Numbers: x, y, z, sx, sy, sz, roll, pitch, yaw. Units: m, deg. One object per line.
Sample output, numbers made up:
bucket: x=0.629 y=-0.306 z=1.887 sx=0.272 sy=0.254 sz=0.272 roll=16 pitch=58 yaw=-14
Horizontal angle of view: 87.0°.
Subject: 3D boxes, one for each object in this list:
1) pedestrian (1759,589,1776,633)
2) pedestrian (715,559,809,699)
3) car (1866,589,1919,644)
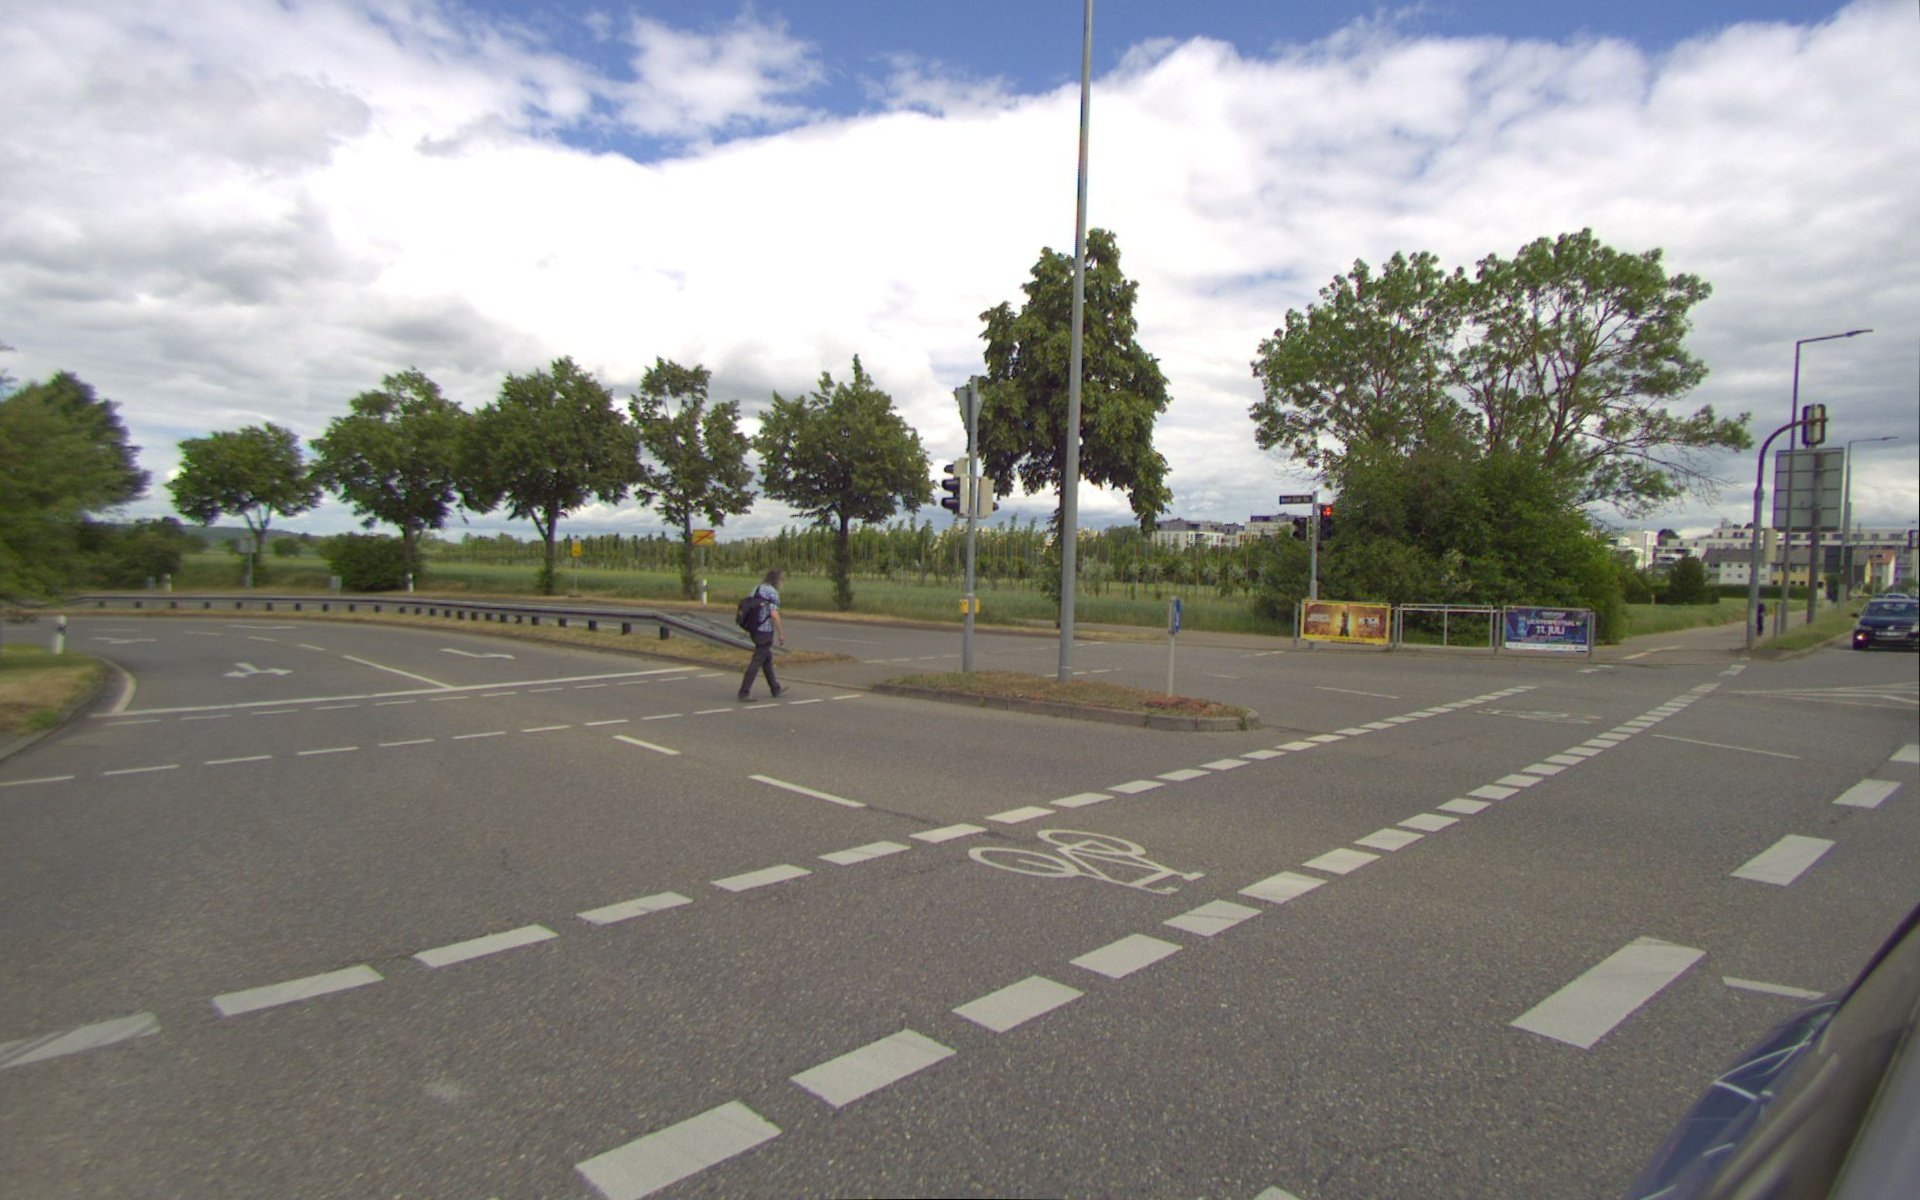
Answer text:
pedestrian: x=32.033 y=0.431 z=40.137 sx=0.491 sy=1.724 sz=0.616 roll=0 pitch=0 yaw=43
pedestrian: x=-2.673 y=0.363 z=13.667 sx=1.025 sy=1.815 sz=0.719 roll=-1 pitch=1 yaw=-41
car: x=26.815 y=0.433 z=28.514 sx=3.678 sy=1.436 sz=1.680 roll=-1 pitch=2 yaw=-44
